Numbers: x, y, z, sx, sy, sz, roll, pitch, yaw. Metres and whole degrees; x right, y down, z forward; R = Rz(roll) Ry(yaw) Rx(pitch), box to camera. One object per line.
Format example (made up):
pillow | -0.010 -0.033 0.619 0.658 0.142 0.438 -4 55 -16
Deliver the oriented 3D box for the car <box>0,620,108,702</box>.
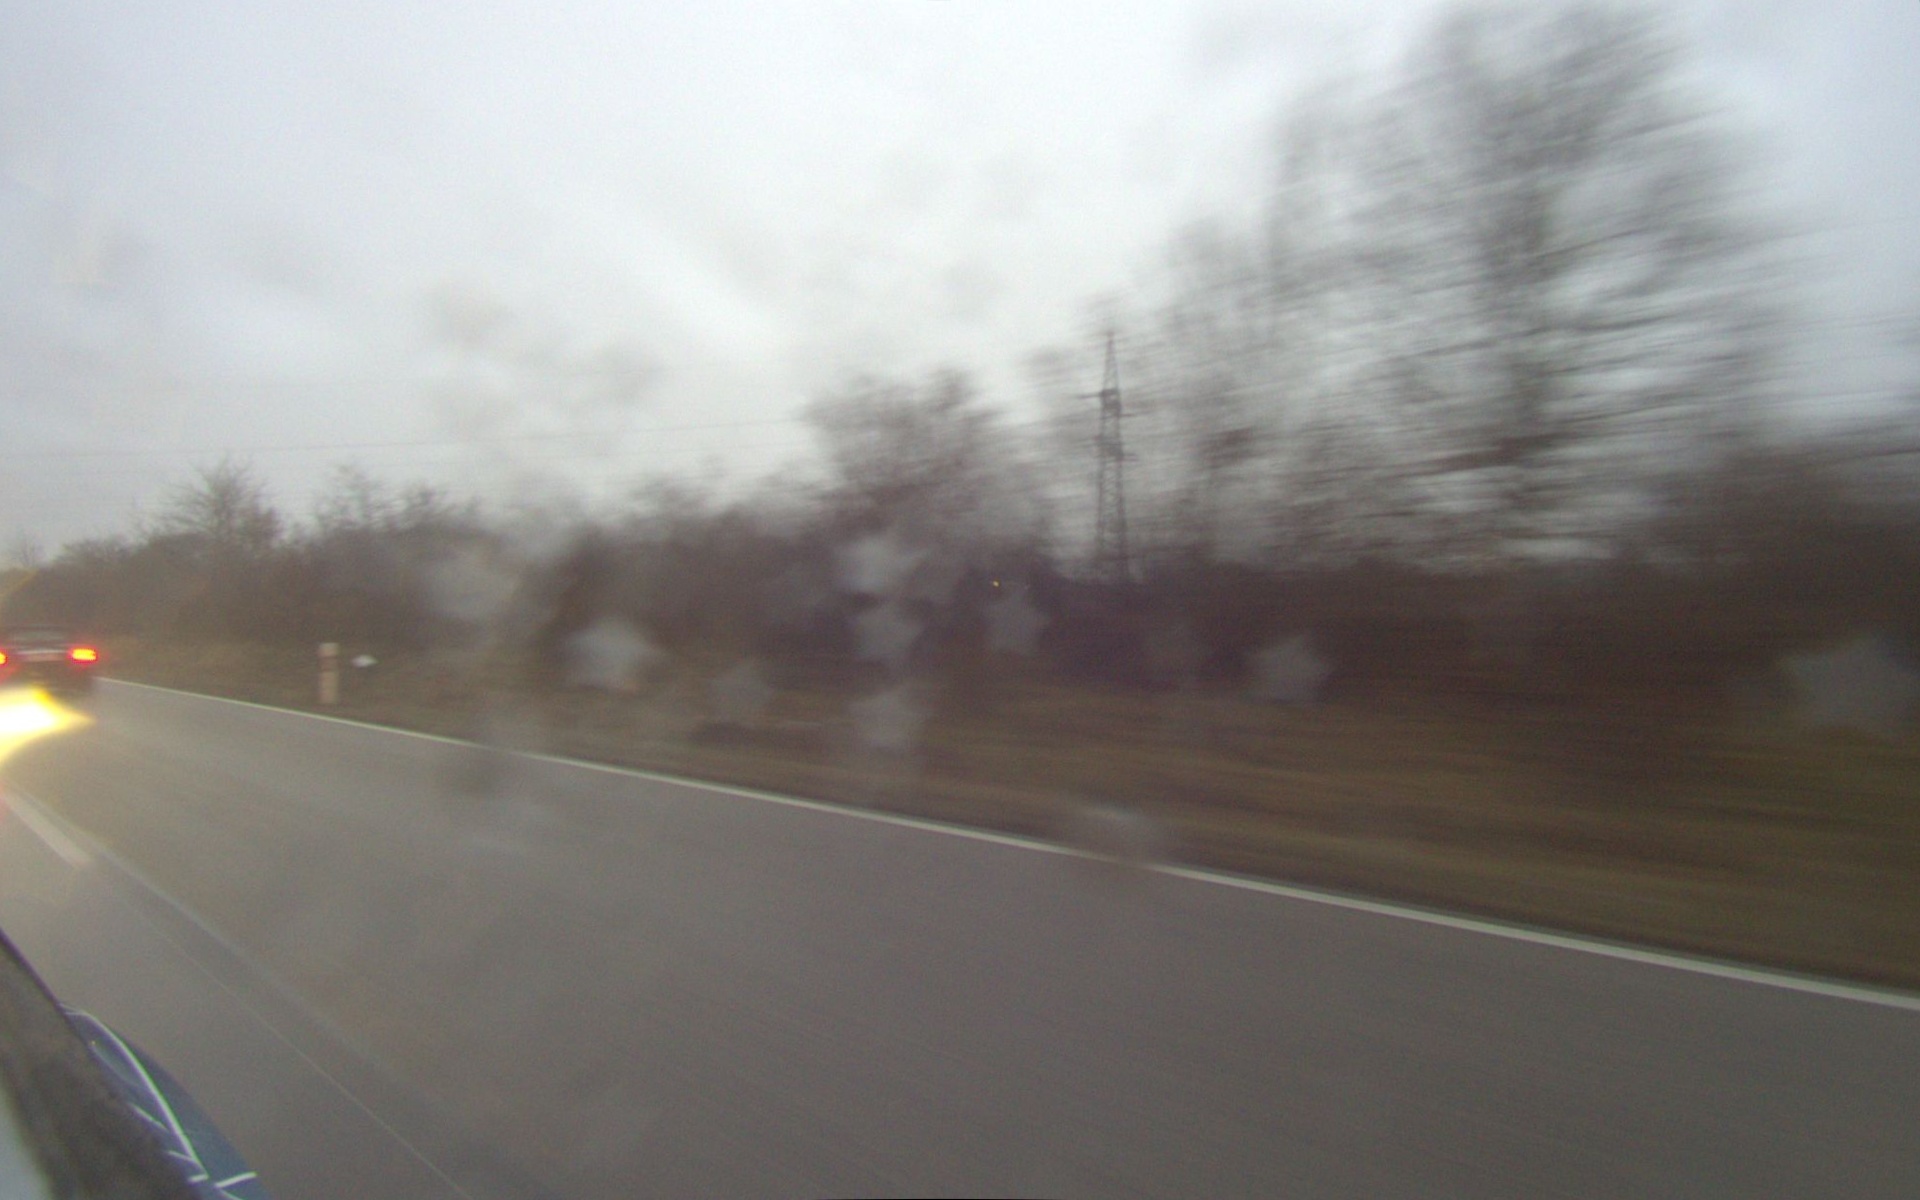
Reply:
car | -18.544 1.162 20.117 3.451 1.452 1.800 -1 0 38
